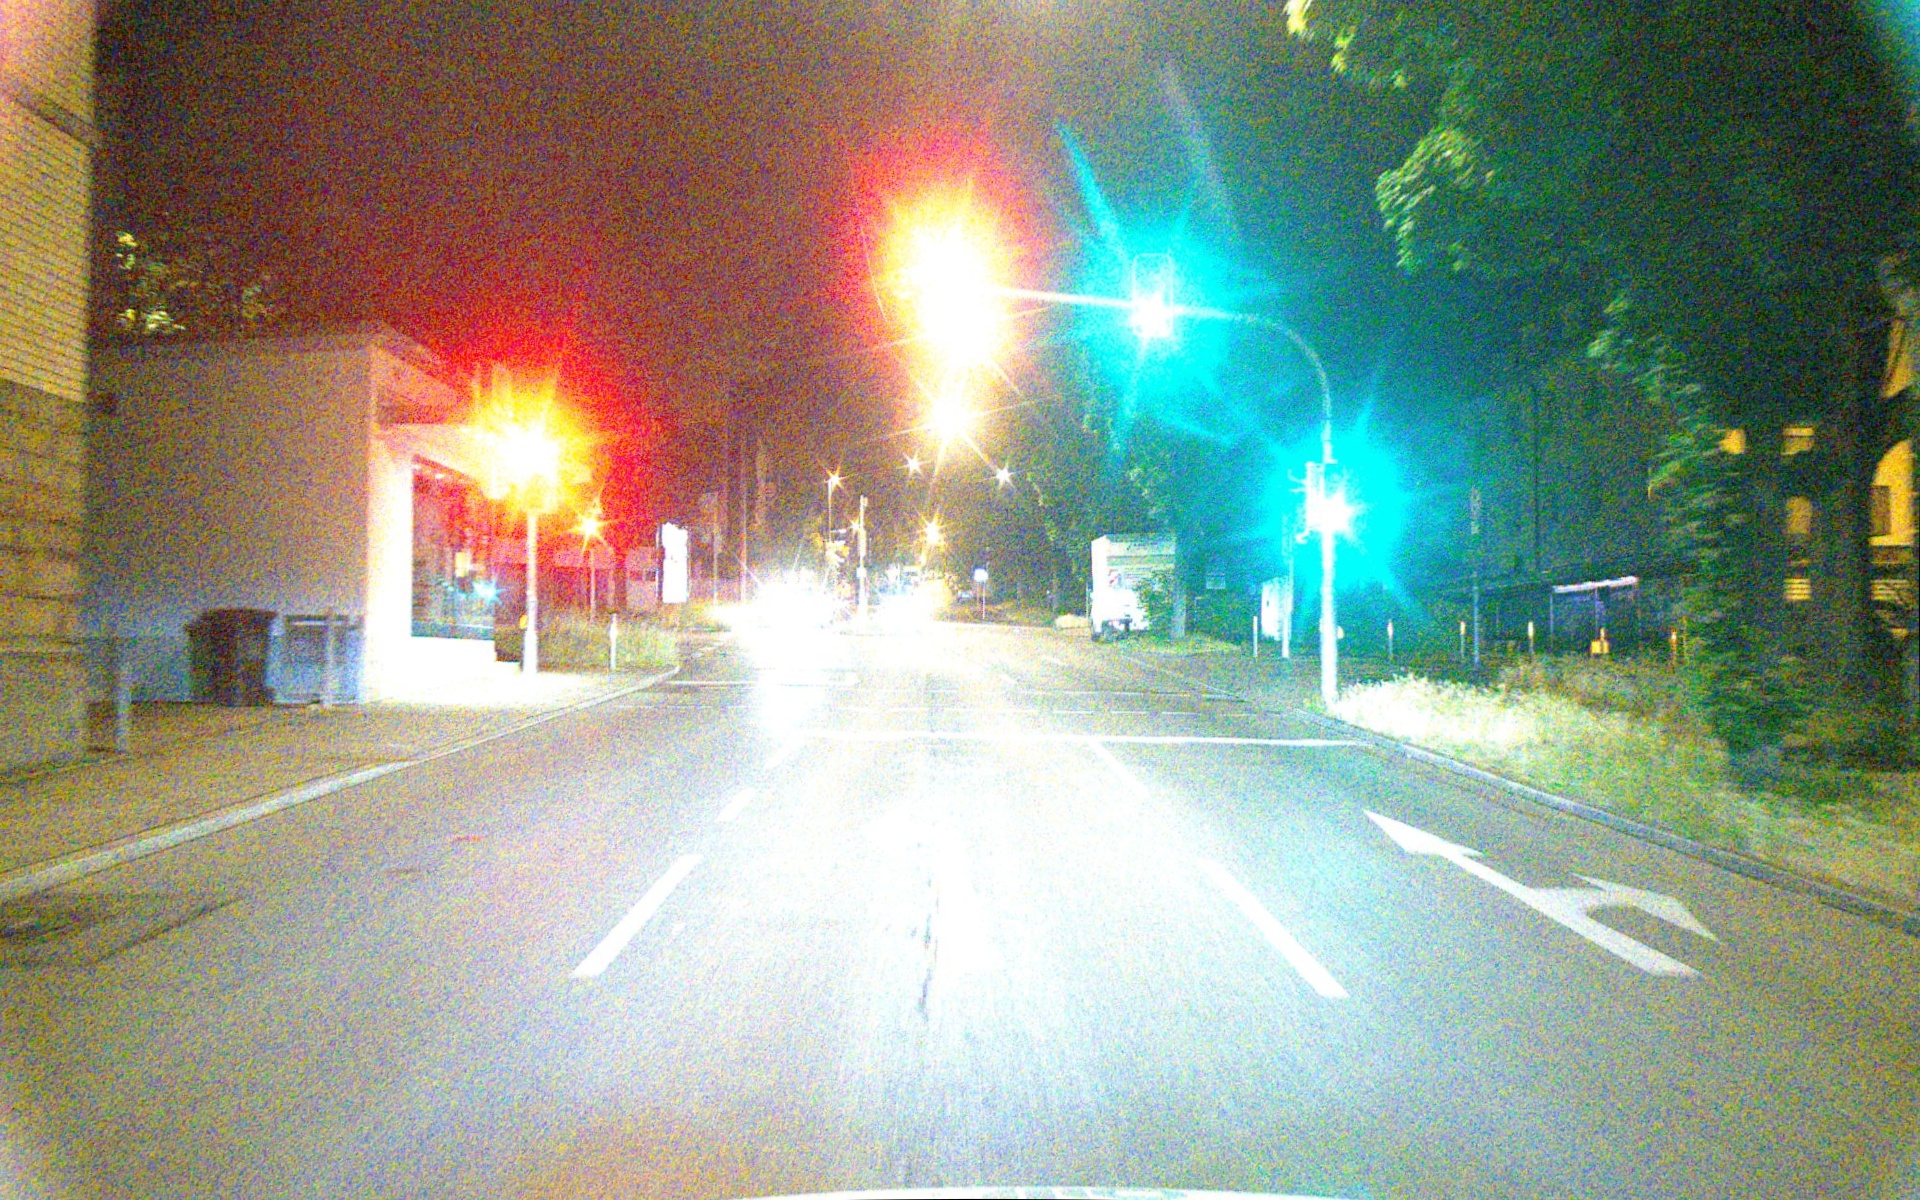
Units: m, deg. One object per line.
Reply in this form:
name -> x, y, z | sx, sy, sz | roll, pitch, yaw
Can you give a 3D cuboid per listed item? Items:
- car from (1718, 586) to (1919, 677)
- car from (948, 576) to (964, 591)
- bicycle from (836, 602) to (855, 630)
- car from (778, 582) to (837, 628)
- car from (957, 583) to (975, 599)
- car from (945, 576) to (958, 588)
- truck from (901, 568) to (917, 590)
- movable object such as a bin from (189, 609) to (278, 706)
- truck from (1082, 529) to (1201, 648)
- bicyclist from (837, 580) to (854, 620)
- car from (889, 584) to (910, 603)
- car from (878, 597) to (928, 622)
car -> 16.209, 0.539, 30.001 | 4.045, 1.302, 1.767 | -5, -1, 6
car -> -0.378, -1.688, 172.676 | 1.601, 1.477, 3.484 | 1, 0, -1
bicycle -> -4.854, 0.679, 70.123 | 0.682, 1.169, 1.950 | 1, 0, -1
car -> -5.506, 0.165, 60.043 | 1.819, 1.561, 4.027 | 1, 0, -1
car -> 0.593, -0.851, 156.690 | 1.601, 1.477, 3.484 | 1, 0, -1
car -> -1.031, -2.253, 204.881 | 1.601, 1.477, 3.484 | 1, 0, -1
truck -> -6.842, -2.839, 222.896 | 2.045, 2.897, 5.828 | 1, 0, -3
movable object such as a bin -> -8.157, 0.634, 18.578 | 0.625, 1.067, 0.655 | 1, 0, 17
truck -> 5.170, -0.327, 48.053 | 2.693, 3.165, 6.258 | 1, 0, 0
bicyclist -> -4.840, 0.014, 70.047 | 0.676, 1.666, 0.896 | 1, 0, -1
car -> -5.397, -0.605, 148.168 | 1.778, 1.713, 3.999 | 1, 0, -1
car -> -3.498, 0.549, 100.494 | 1.886, 1.413, 4.560 | 1, 0, -17
